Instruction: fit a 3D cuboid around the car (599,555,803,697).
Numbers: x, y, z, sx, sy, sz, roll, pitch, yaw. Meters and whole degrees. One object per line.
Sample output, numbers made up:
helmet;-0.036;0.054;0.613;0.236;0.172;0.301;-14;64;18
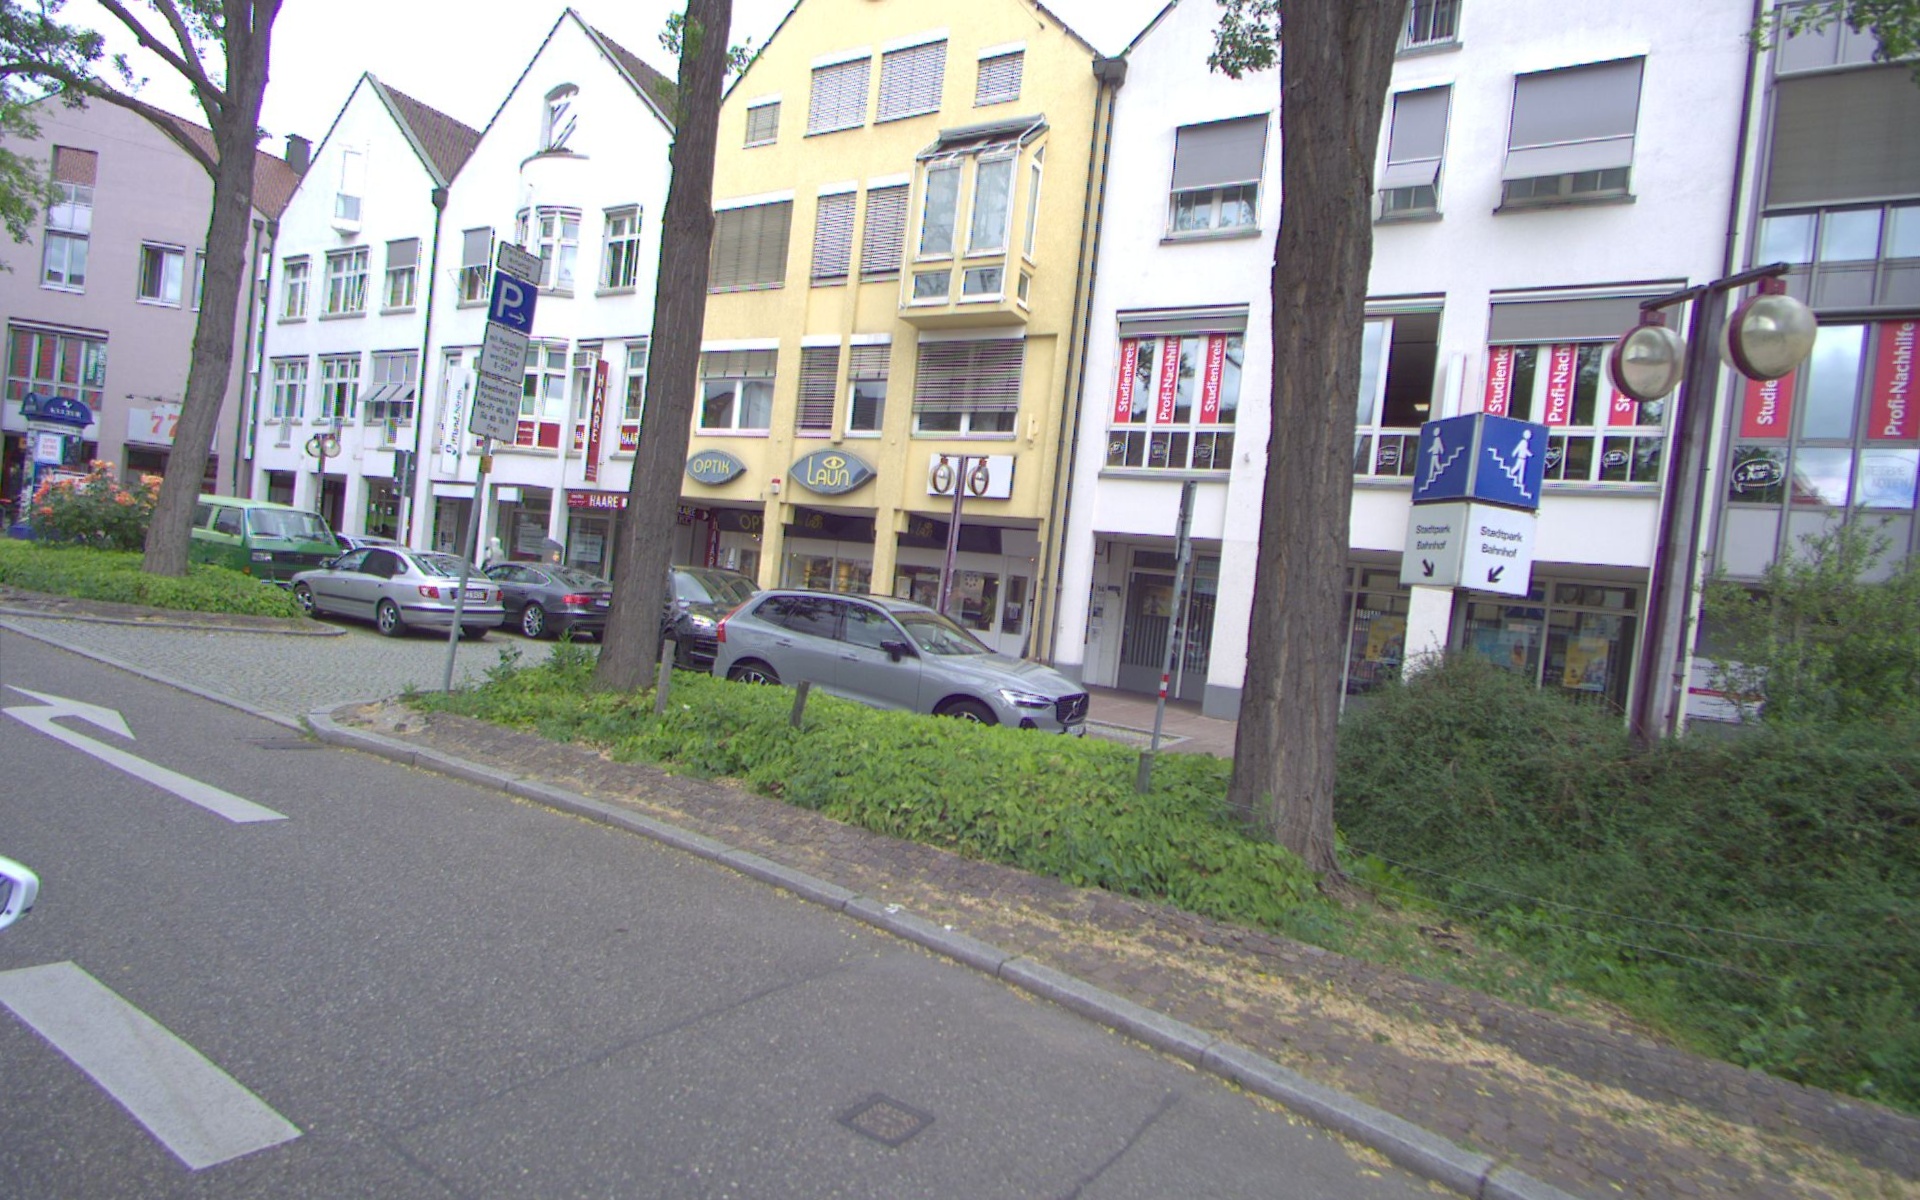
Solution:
car;-4.233;0.301;15.825;1.838;1.692;4.626;6;1;-30

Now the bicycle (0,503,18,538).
bicycle;-29.476;-2.495;30.105;0.440;1.009;1.769;7;0;36

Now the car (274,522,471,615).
car;-13.105;-0.712;22.378;4.319;1.562;1.798;7;1;30

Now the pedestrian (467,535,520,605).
pedestrian;-11.854;-0.755;25.563;0.805;1.681;0.789;7;3;31

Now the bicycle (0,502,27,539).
bicycle;-29.025;-2.461;29.813;0.460;1.009;1.902;7;0;36

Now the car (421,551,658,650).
car;-8.316;-0.001;19.828;4.344;1.394;1.999;7;1;30

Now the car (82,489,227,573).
car;-22.574;-1.938;28.172;3.898;1.855;1.640;7;1;27

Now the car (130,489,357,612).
car;-14.270;-1.000;19.983;4.527;1.900;1.882;7;1;30

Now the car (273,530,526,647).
car;-9.785;-0.217;17.492;4.344;1.468;1.765;7;0;30

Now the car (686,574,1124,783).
car;-0.703;0.804;11.844;4.681;1.615;1.997;7;0;29
